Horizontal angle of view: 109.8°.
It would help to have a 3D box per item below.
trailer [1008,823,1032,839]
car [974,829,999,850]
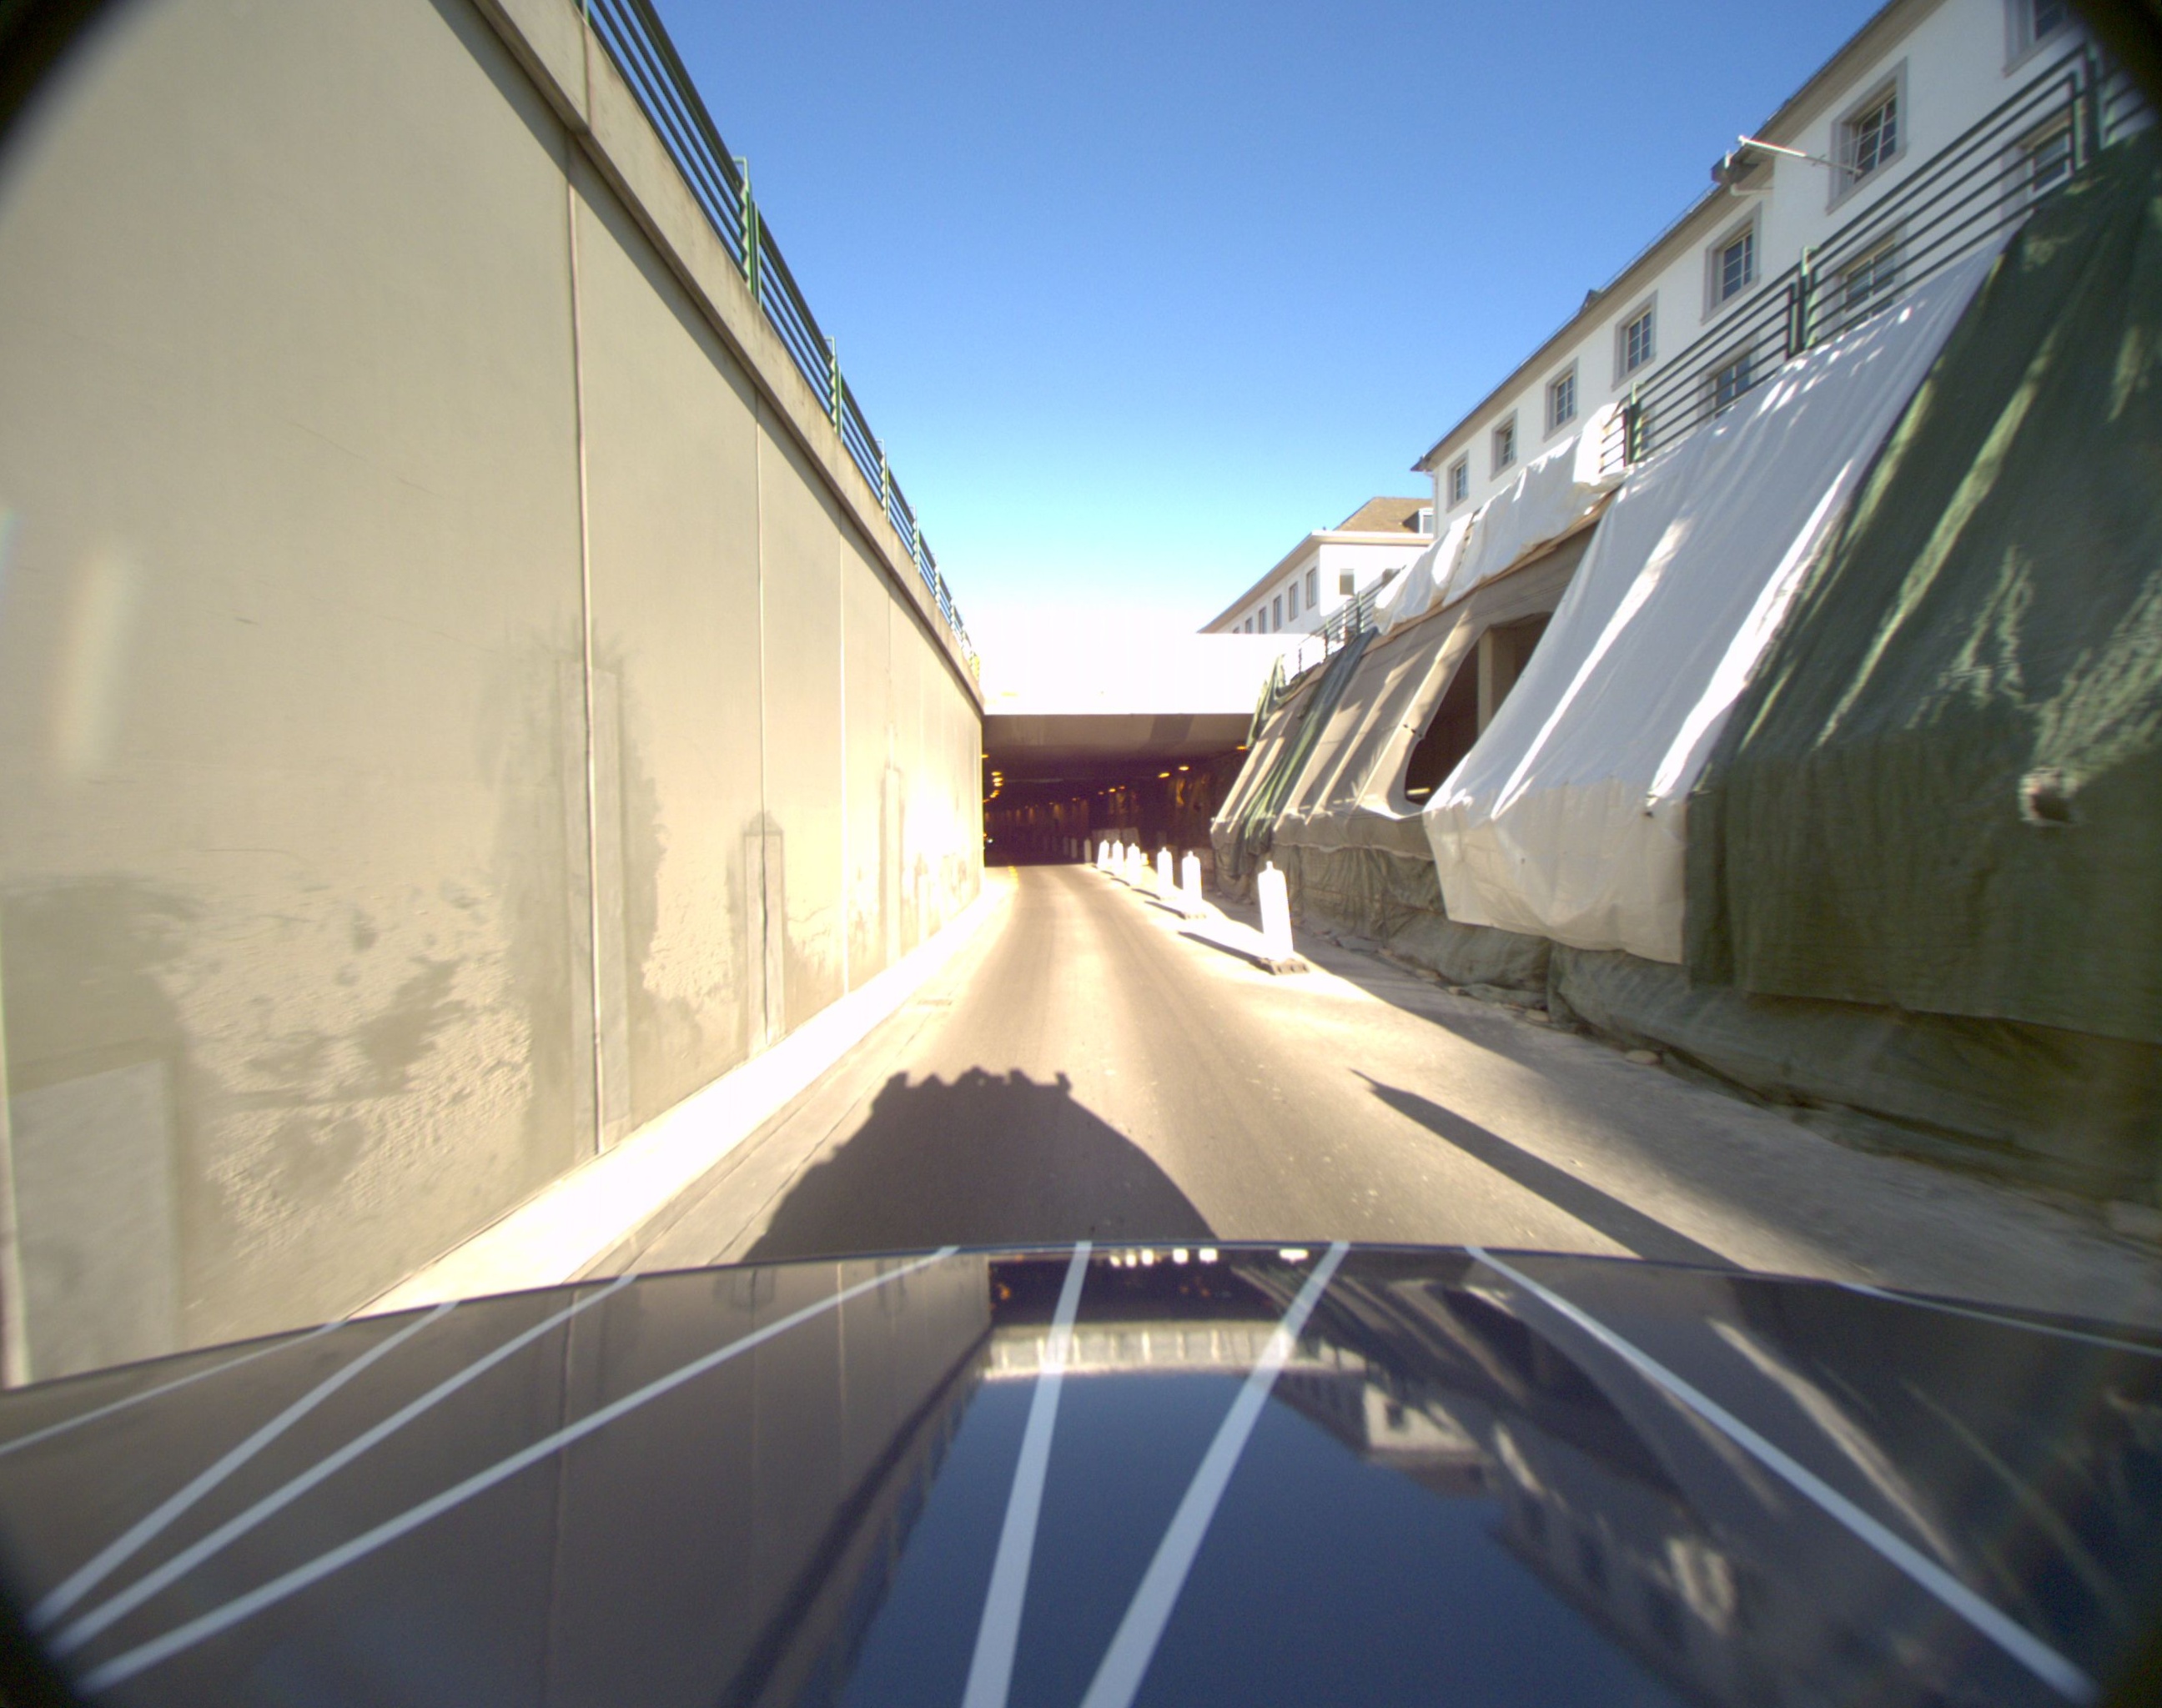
[{"bbox_3d":[-7.751,-2.944,96.289,2.217,2.003,3.459,-3,4,-18],"label":"trailer"},{"bbox_3d":[-7.928,-1.243,63.674,1.898,1.537,4.235,-2,3,-8],"label":"car"}]
